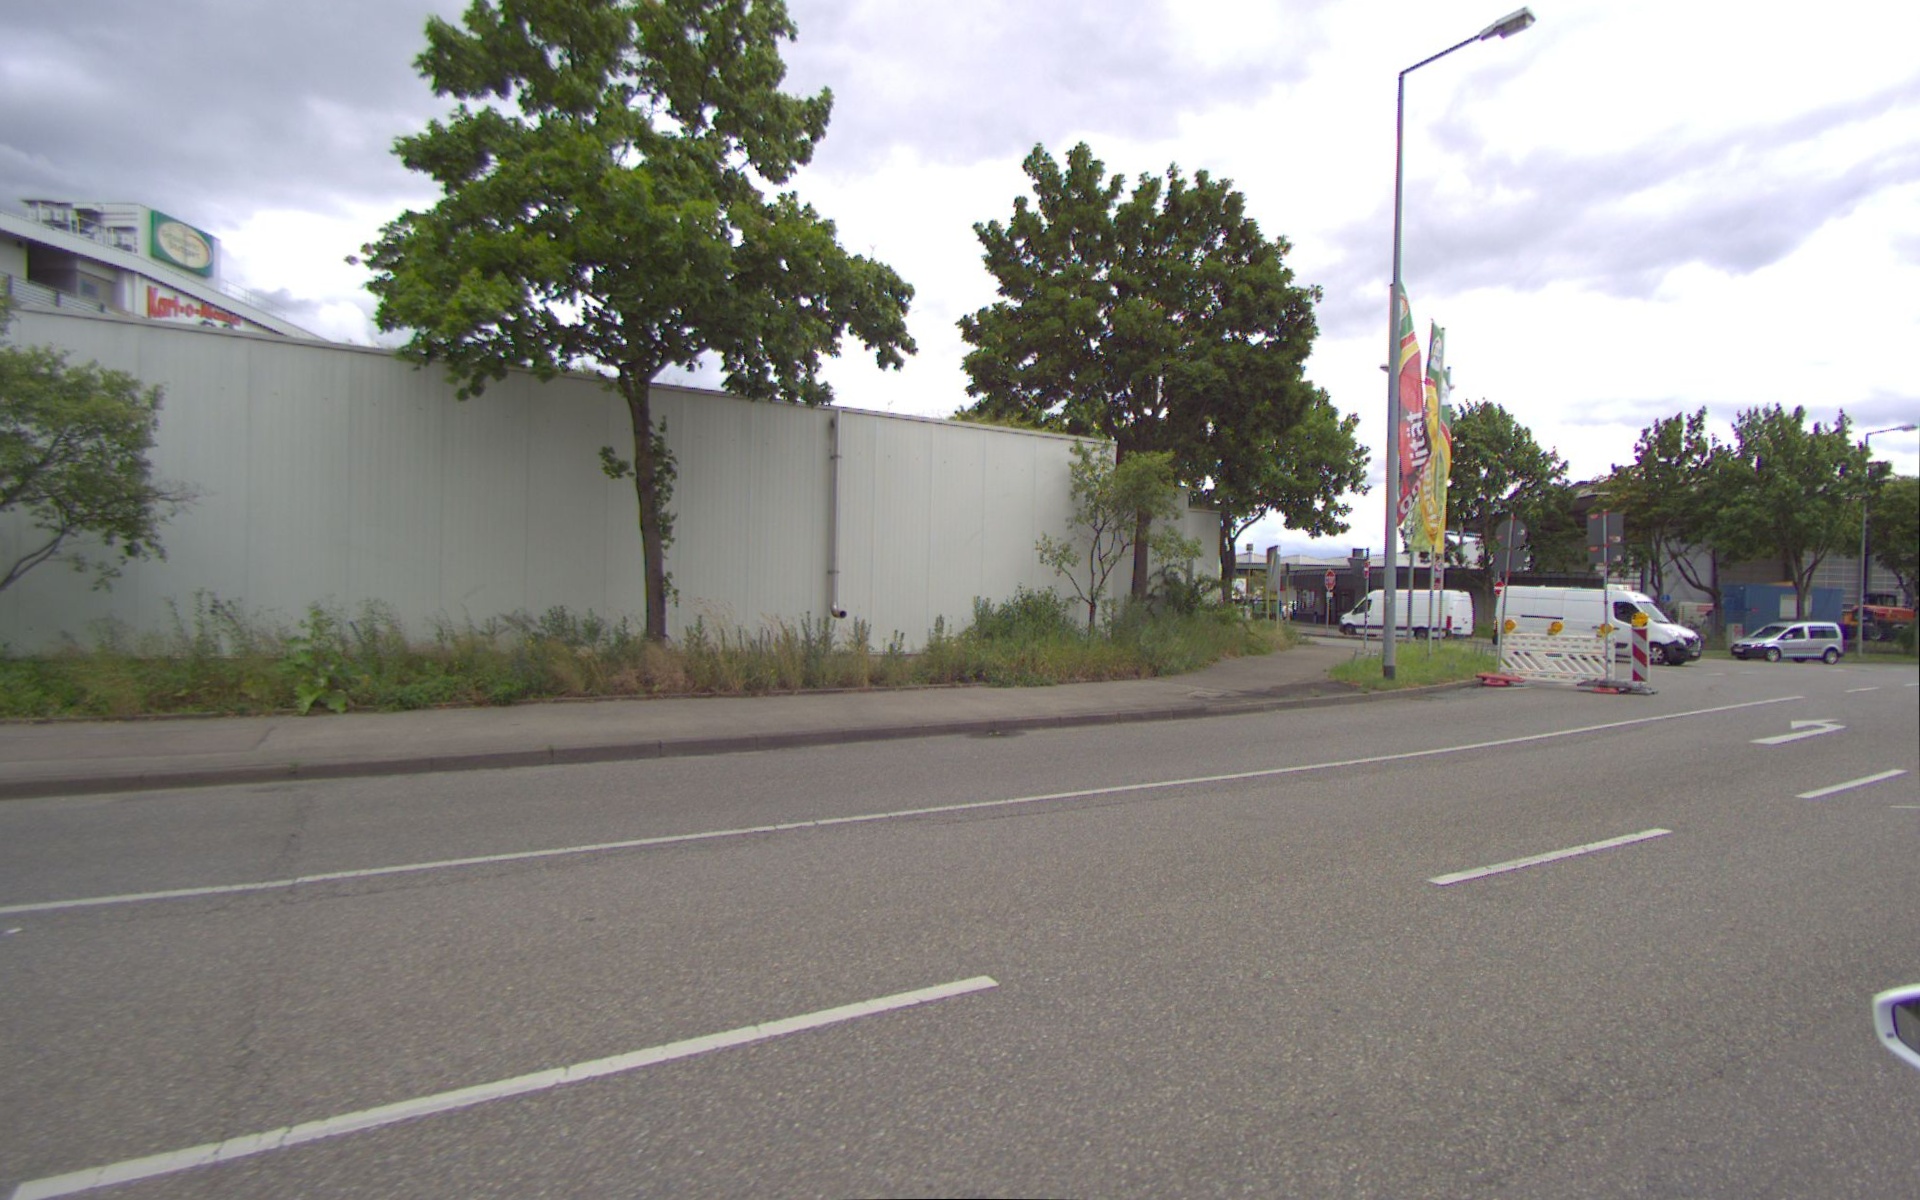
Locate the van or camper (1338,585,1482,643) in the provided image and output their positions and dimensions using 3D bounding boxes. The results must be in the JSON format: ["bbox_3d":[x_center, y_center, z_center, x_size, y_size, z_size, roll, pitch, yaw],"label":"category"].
[{"bbox_3d":[22.899,0.657,51.466,2.305,2.591,6.520,1,2,-31],"label":"van or camper"}]

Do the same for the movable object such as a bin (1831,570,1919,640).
[{"bbox_3d":[58.168,0.371,62.043,6.424,4.145,2.733,2,0,-2],"label":"movable object such as a bin"}]

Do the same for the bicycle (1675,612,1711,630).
[{"bbox_3d":[43.987,1.262,60.281,1.727,0.987,0.663,2,0,-2],"label":"bicycle"}]

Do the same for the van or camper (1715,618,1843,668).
[{"bbox_3d":[36.927,1.925,45.370,4.194,1.990,1.957,2,2,-3],"label":"van or camper"}]

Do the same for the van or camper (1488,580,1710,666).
[{"bbox_3d":[22.034,0.704,34.965,2.250,2.591,6.047,1,2,-35],"label":"van or camper"}]
